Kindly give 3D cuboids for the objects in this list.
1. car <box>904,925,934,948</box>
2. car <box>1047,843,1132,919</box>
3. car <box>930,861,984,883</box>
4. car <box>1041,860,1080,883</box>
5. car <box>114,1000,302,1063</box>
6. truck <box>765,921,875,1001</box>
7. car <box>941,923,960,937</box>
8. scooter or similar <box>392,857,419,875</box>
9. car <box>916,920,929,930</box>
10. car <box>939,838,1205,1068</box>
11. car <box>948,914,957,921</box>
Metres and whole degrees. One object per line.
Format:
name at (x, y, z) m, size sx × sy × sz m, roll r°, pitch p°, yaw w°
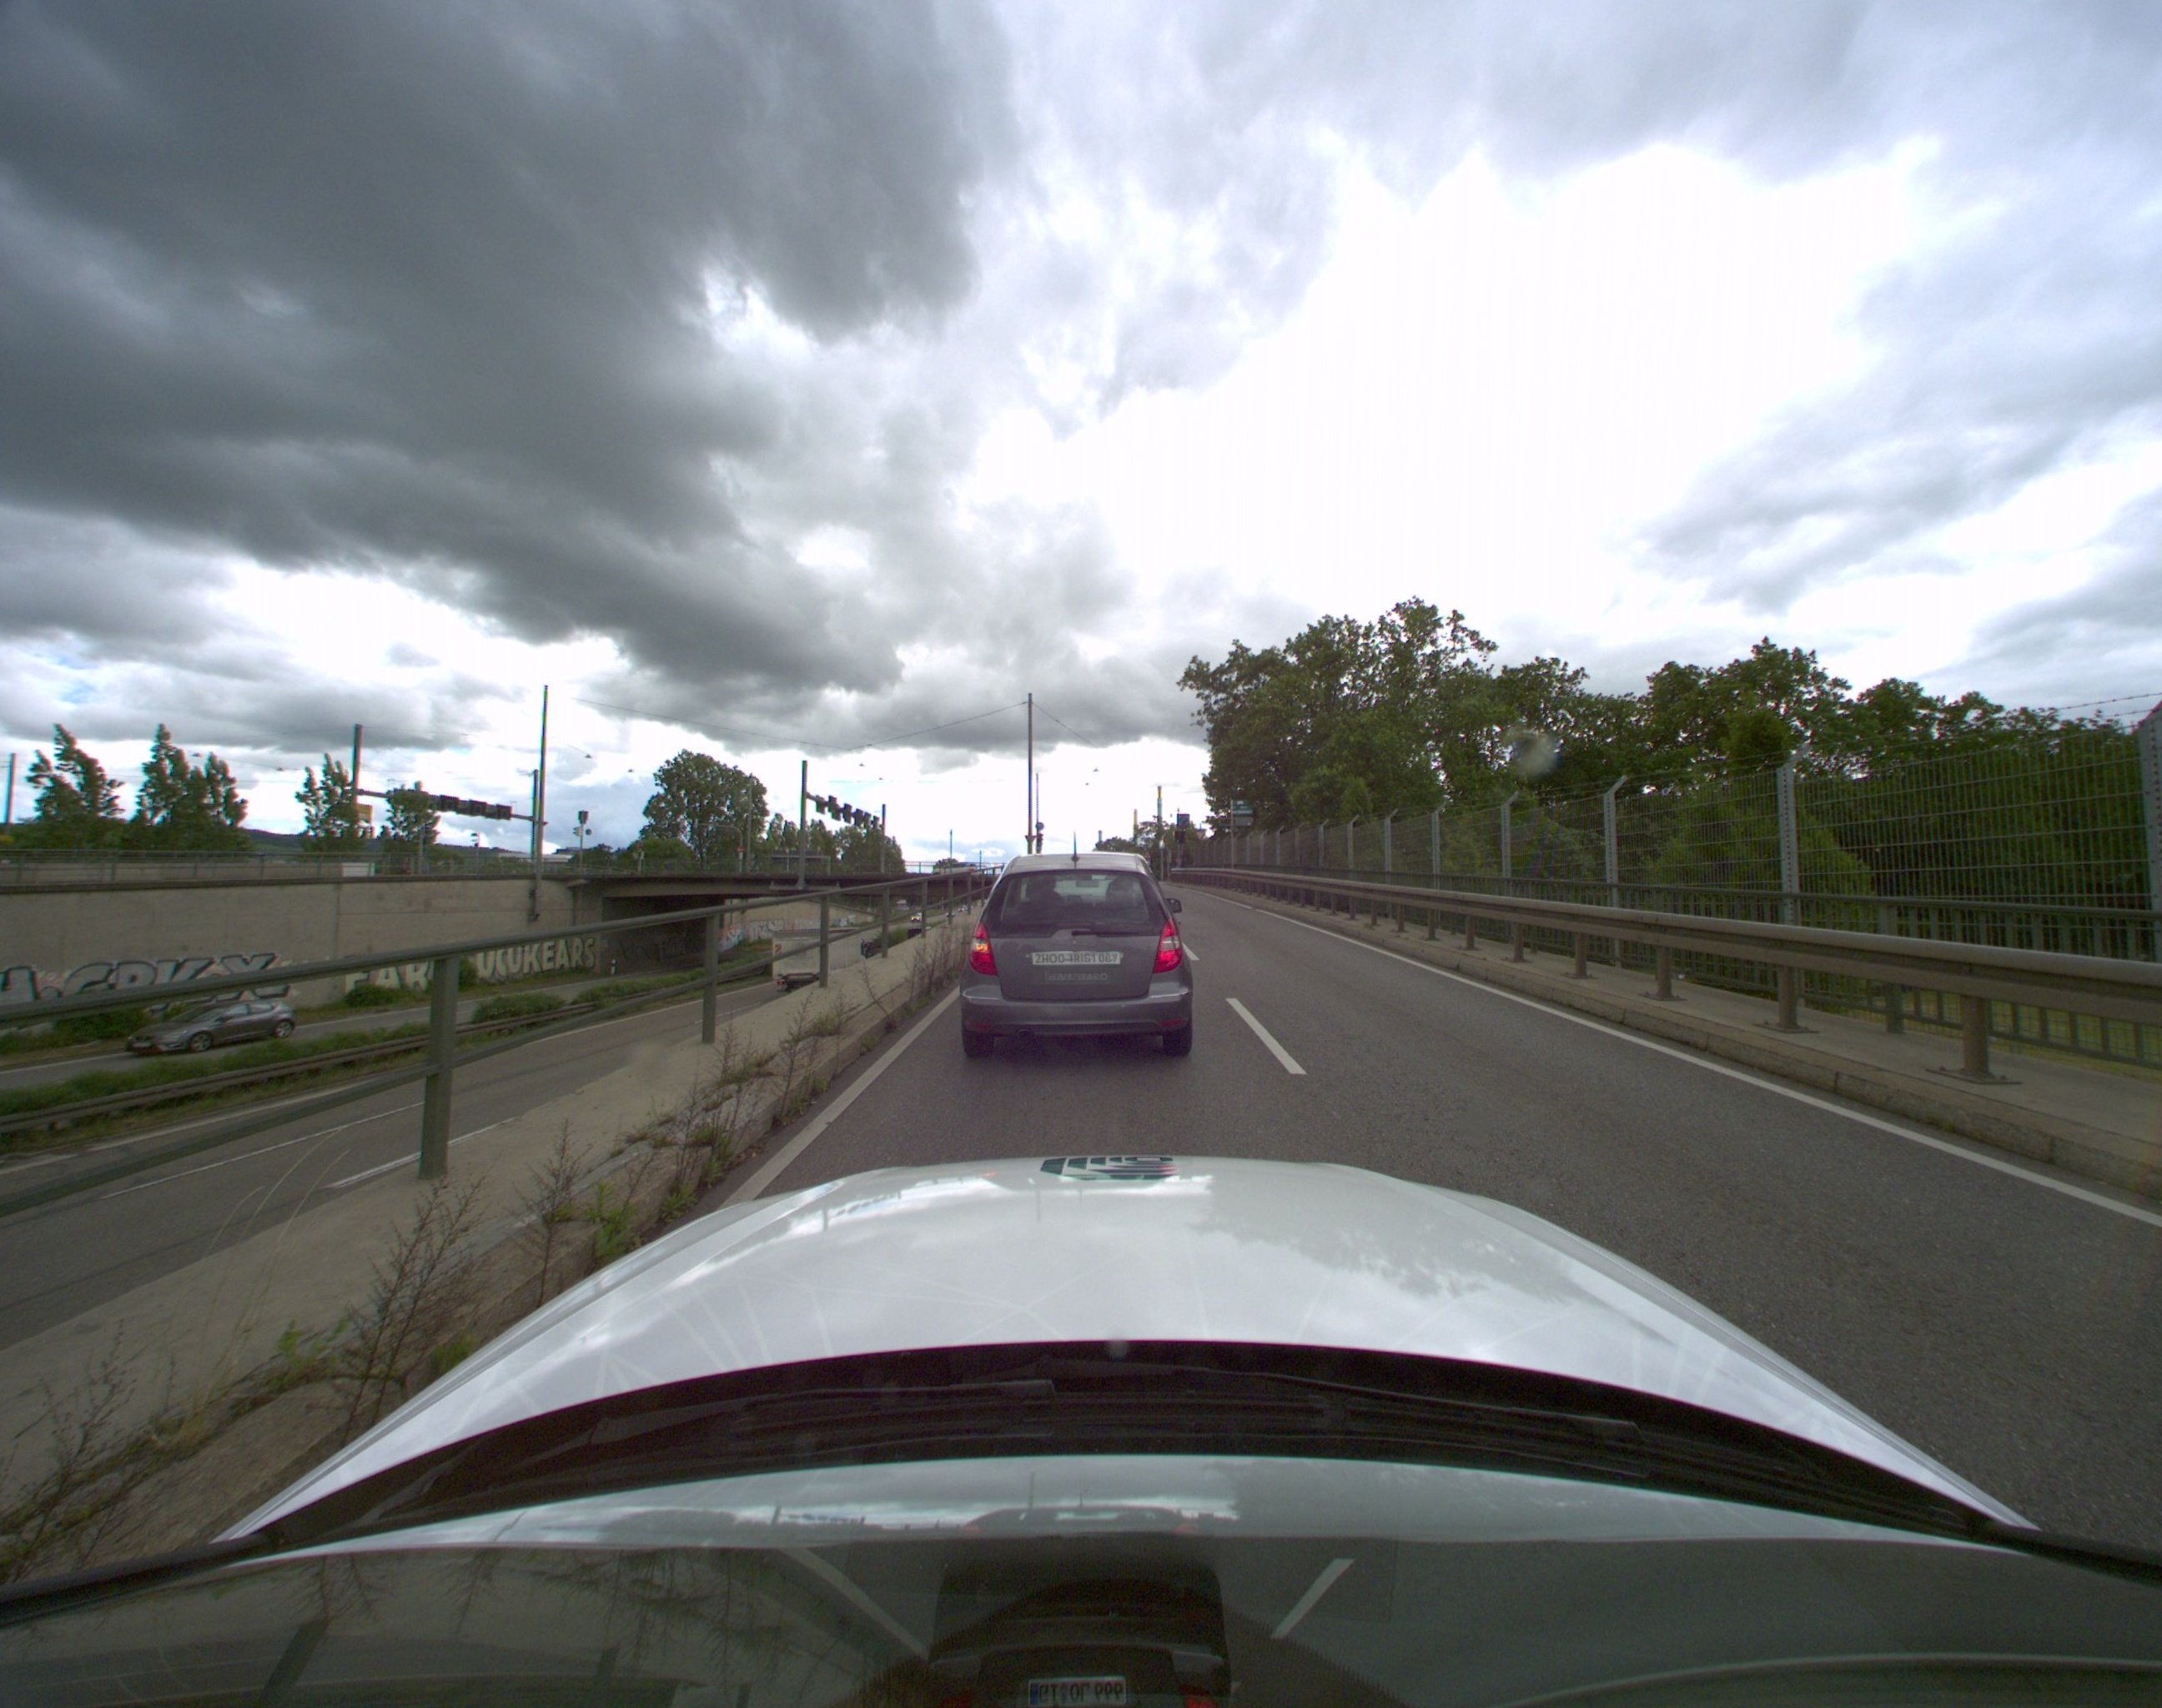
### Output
car at (-16.228, 8.248, 81.669) m, size 1.891 × 2.003 × 4.959 m, roll -1°, pitch -3°, yaw 2°
car at (0.224, 0.626, 20.811) m, size 1.924 × 1.717 × 4.406 m, roll 0°, pitch -1°, yaw 1°
car at (-10.790, 1.548, 70.869) m, size 4.163 × 1.870 × 2.011 m, roll -1°, pitch -1°, yaw 22°
car at (-1.595, 1.306, 62.684) m, size 1.937 × 1.717 × 3.975 m, roll 0°, pitch -1°, yaw -18°
car at (-28.798, 5.823, 27.094) m, size 1.705 × 1.376 × 4.110 m, roll -2°, pitch -4°, yaw 1°
truck at (-12.554, 5.077, 39.942) m, size 2.736 × 3.293 × 7.442 m, roll -1°, pitch -3°, yaw 2°
car at (-16.776, 9.720, 104.794) m, size 1.893 × 1.622 × 4.174 m, roll 0°, pitch -3°, yaw -2°
scooter or similar at (-42.088, 0.748, 50.762) m, size 0.542 × 1.094 × 1.414 m, roll -1°, pitch -3°, yaw -4°
car at (-33.727, 15.081, 173.610) m, size 1.988 × 2.067 × 5.172 m, roll 0°, pitch -3°, yaw -2°
car at (-0.001, 0.697, 7.678) m, size 1.851 × 1.588 × 4.002 m, roll 0°, pitch 0°, yaw 2°
car at (-34.787, 17.274, 220.881) m, size 1.910 × 1.739 × 4.549 m, roll -1°, pitch -3°, yaw -1°
